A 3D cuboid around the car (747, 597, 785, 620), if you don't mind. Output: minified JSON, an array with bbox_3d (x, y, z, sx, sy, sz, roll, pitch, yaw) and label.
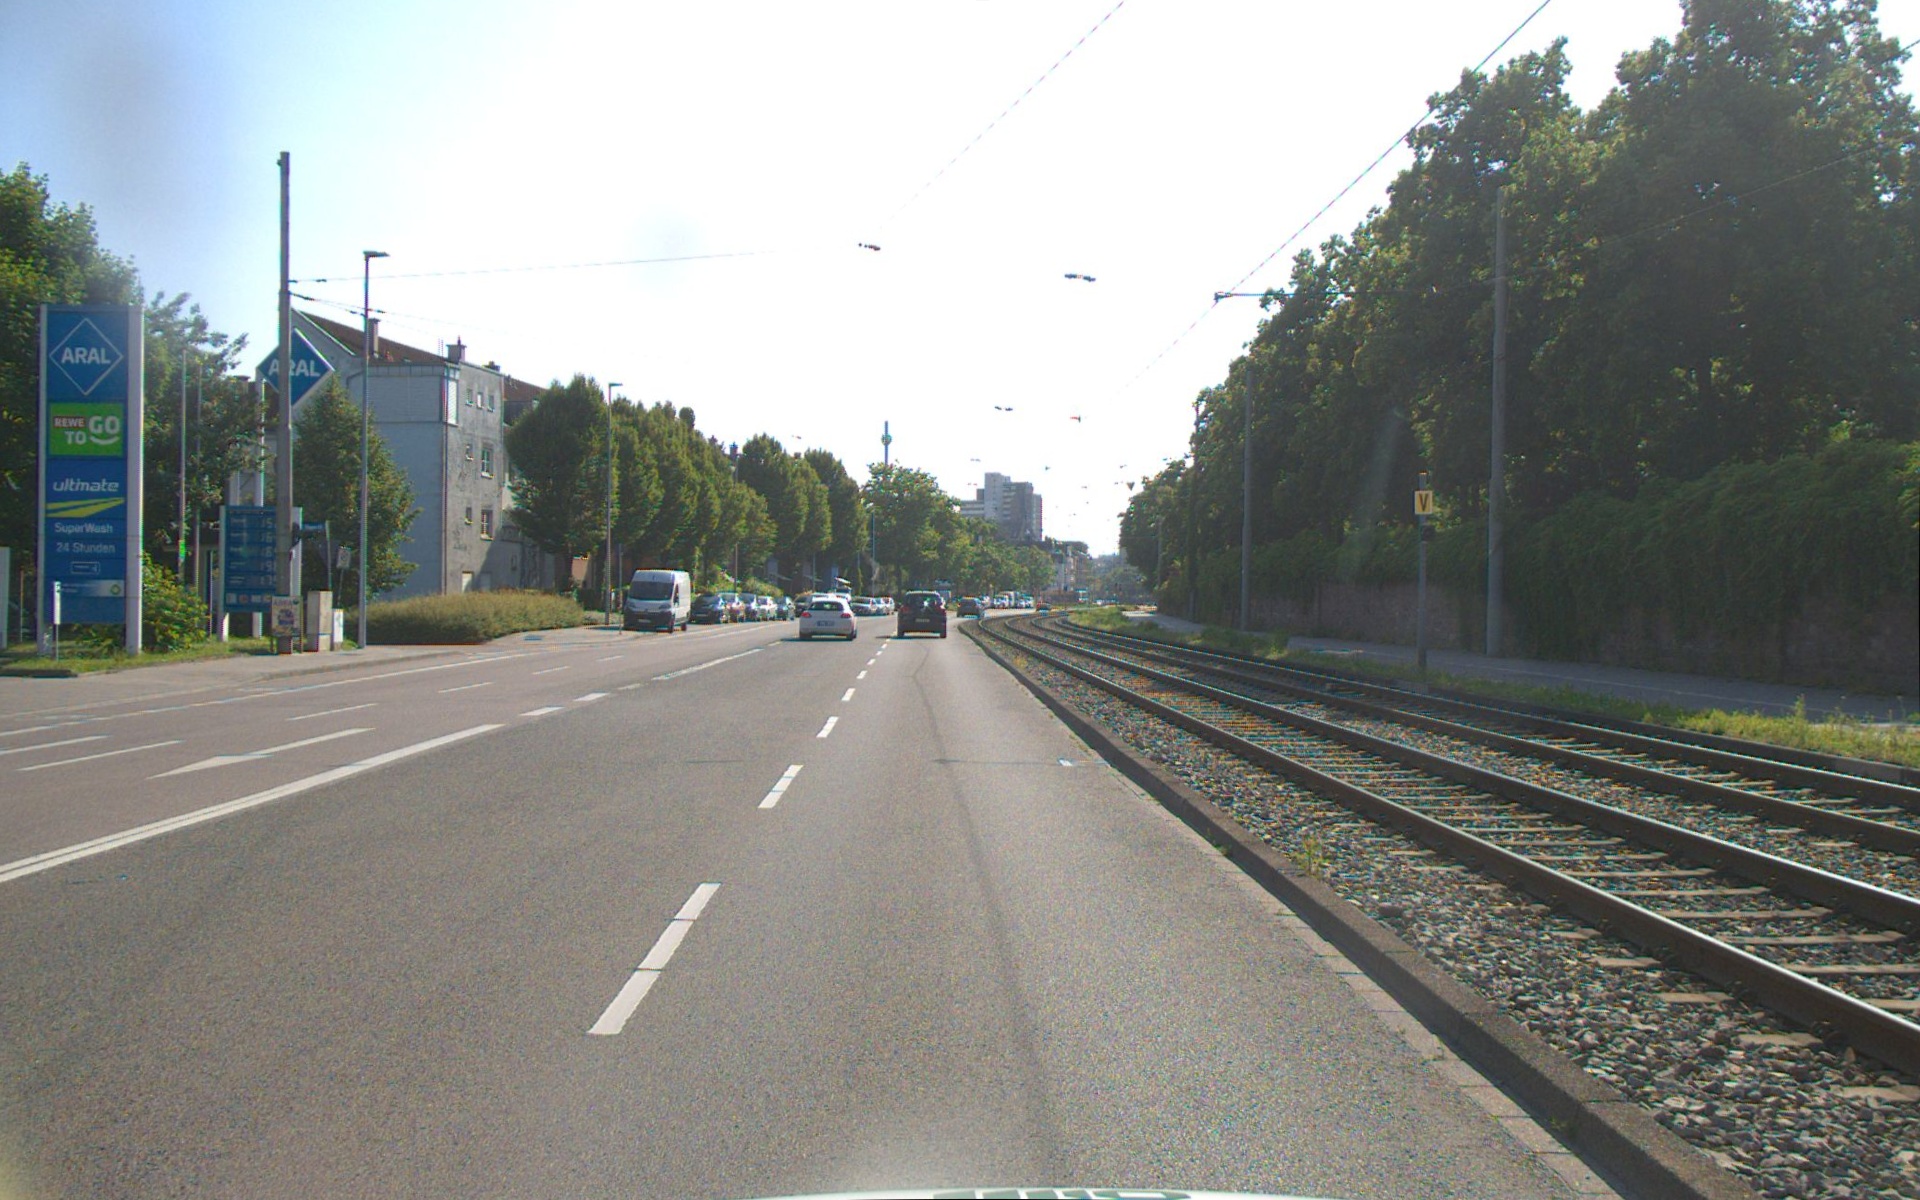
[{"bbox_3d":[-12.455,0.529,106.520,1.952,1.441,3.844,0,0,1],"label":"car"}]

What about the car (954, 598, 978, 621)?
[{"bbox_3d":[0.462,0.685,123.599,1.689,1.620,3.601,2,0,0],"label":"car"}]

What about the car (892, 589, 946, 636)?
[{"bbox_3d":[-1.516,0.428,60.071,1.691,1.620,3.597,2,0,-5],"label":"car"}]

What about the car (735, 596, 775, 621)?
[{"bbox_3d":[-12.494,0.499,100.943,1.952,1.441,3.844,0,0,1],"label":"car"}]

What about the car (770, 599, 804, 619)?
[{"bbox_3d":[-12.339,0.639,118.271,1.952,1.441,3.844,0,0,1],"label":"car"}]

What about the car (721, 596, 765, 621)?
[{"bbox_3d":[-12.539,0.482,95.672,1.952,1.441,3.844,0,0,1],"label":"car"}]

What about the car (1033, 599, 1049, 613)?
[{"bbox_3d":[9.459,0.714,193.257,1.688,1.620,3.603,2,0,4],"label":"car"}]

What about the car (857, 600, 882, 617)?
[{"bbox_3d":[-7.879,0.722,144.695,1.952,1.441,3.844,0,0,1],"label":"car"}]

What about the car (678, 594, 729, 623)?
[{"bbox_3d":[-12.966,0.418,83.853,1.952,1.441,3.844,0,0,1],"label":"car"}]

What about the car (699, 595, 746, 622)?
[{"bbox_3d":[-12.883,0.450,89.887,1.952,1.441,3.844,0,0,1],"label":"car"}]

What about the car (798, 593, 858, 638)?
[{"bbox_3d":[-4.348,0.495,54.842,1.745,1.380,3.600,2,0,-1],"label":"car"}]

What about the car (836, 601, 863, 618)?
[{"bbox_3d":[-9.282,0.788,139.670,1.952,1.441,3.844,0,0,1],"label":"car"}]

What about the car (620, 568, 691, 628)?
[{"bbox_3d":[-12.581,-0.101,68.521,1.952,2.418,4.539,0,0,2],"label":"car"}]
